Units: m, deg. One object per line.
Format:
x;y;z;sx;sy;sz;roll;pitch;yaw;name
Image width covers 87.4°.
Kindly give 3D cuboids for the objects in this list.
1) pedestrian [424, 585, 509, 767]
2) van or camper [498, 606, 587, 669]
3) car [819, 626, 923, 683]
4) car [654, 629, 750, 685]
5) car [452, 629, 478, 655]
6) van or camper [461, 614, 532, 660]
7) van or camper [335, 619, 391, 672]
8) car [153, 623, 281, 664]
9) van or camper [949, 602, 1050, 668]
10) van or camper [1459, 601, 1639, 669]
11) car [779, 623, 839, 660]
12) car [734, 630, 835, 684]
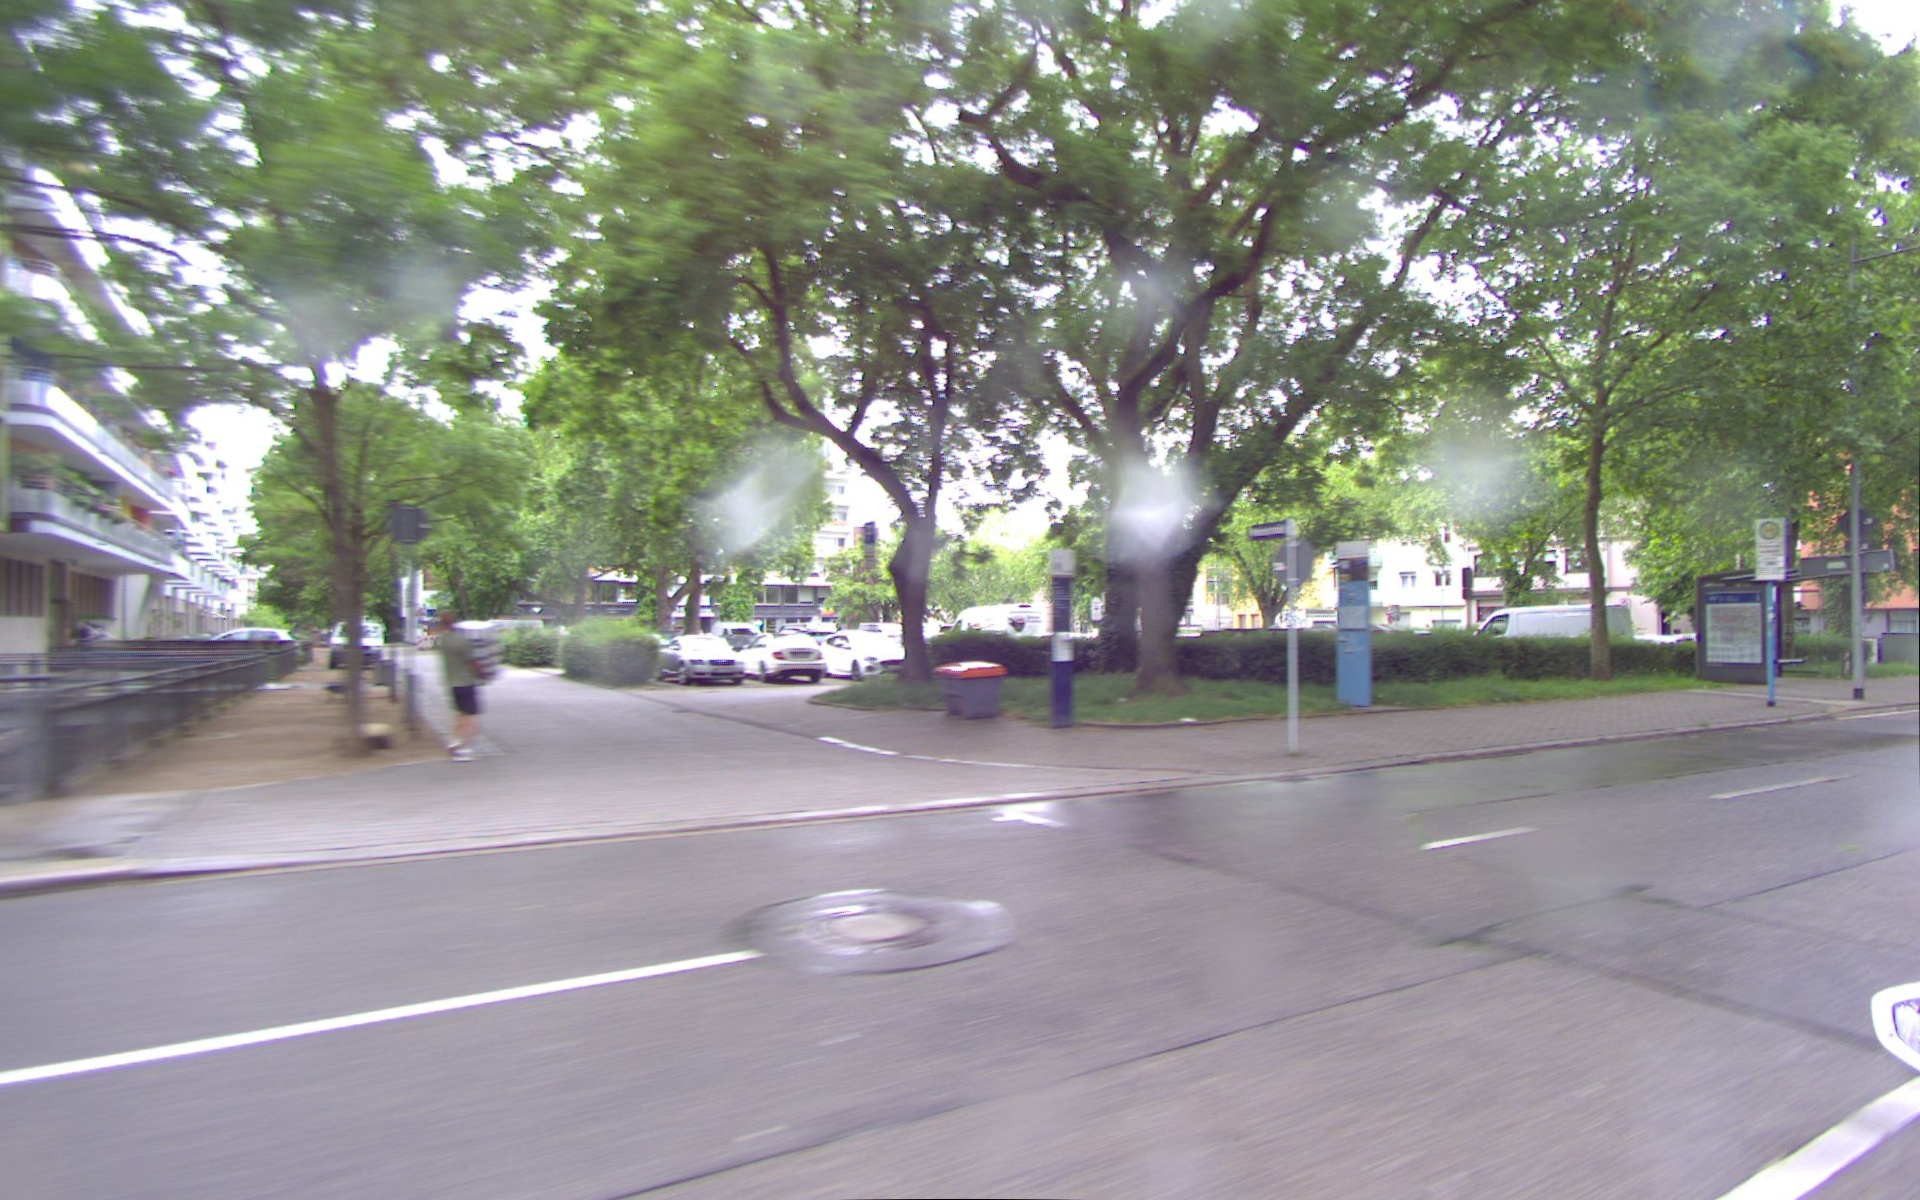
-5.548;0.825;11.346;0.808;1.950;0.914;0;-1;-24;pedestrian
-18.164;1.580;43.363;2.532;2.433;8.587;1;-2;-29;van or camper
-2.843;1.652;31.337;1.840;1.647;4.022;1;-2;-28;car
-7.498;1.598;28.960;1.841;1.483;3.614;1;-2;-29;car
-33.745;2.835;68.451;1.506;1.568;3.844;1;1;-28;car
-26.602;2.081;57.391;2.912;2.433;8.585;1;-2;-30;van or camper
-25.007;1.906;41.998;1.807;2.040;4.597;3;-4;-32;van or camper
-30.103;1.747;40.840;3.953;1.617;1.768;1;-1;-30;car
1.487;1.349;39.615;2.074;2.463;4.310;1;-1;-28;van or camper
18.618;1.086;31.970;1.978;1.975;4.572;1;-2;-32;van or camper
-7.852;2.117;52.002;1.782;1.848;3.968;1;-2;-30;car
-5.320;1.659;30.129;1.840;1.483;3.971;1;-2;-28;car
